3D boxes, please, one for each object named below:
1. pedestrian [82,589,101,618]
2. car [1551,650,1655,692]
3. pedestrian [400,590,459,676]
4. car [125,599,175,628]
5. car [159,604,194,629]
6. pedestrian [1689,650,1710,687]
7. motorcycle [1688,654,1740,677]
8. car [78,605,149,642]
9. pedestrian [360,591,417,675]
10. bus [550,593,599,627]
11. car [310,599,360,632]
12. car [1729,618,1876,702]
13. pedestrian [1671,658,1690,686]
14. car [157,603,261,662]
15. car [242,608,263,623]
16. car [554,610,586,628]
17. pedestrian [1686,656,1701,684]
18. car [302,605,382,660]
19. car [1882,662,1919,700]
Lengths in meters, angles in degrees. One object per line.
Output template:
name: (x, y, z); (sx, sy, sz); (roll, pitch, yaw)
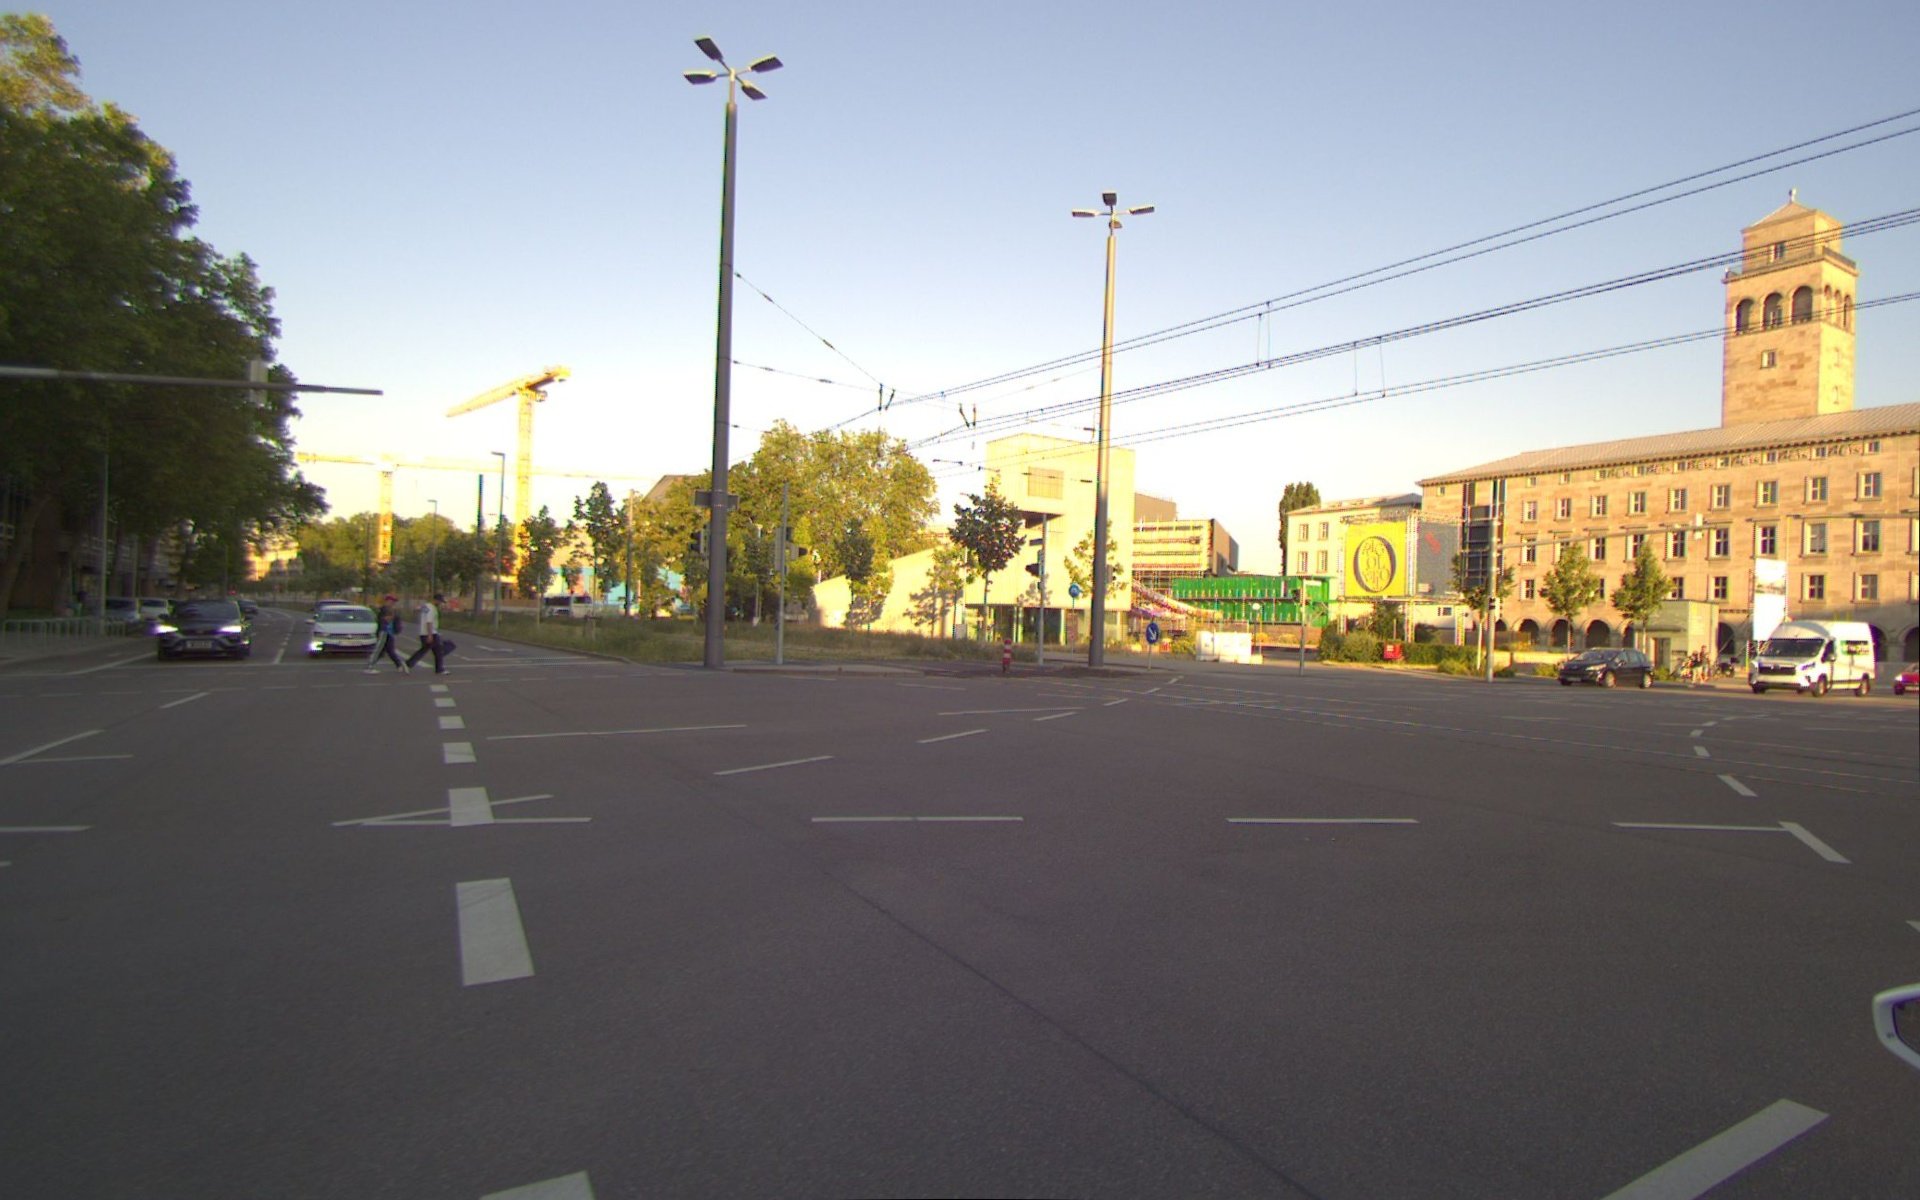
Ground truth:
pedestrian: (-56.419, 0.239, 65.251); (0.749, 1.830, 0.715); (3, 0, -35)
car: (24.904, 2.721, 38.875); (4.111, 1.485, 1.813); (2, -1, -32)
pedestrian: (-11.007, 0.686, 20.842); (0.949, 1.743, 0.816); (2, -1, -35)
car: (-45.911, 0.754, 57.018); (1.723, 1.605, 3.763); (2, -1, -32)
car: (-52.077, 1.106, 66.811); (1.726, 1.605, 4.543); (2, -1, -37)
pedestrian: (36.234, 3.360, 49.213); (0.456, 1.767, 0.617); (3, 0, -35)
motorcycle: (44.456, 3.847, 59.234); (0.819, 1.212, 2.292); (2, -1, -37)
car: (-38.603, 1.032, 45.887); (1.722, 1.605, 4.553); (2, -1, -31)
pedestrian: (-12.170, 0.704, 21.395); (0.949, 1.743, 0.816); (2, -1, -35)
bus: (-45.184, 1.138, 117.458); (2.960, 3.818, 10.338); (2, -1, -34)
car: (-31.824, 0.776, 51.097); (1.833, 1.605, 4.545); (2, -1, -36)
car: (30.897, 2.184, 36.787); (6.013, 2.812, 2.268); (3, -1, -31)
pedestrian: (35.612, 3.542, 49.654); (0.694, 1.318, 0.502); (4, 0, -36)
car: (-20.294, 0.841, 27.292); (1.830, 1.476, 3.920); (2, -1, -31)
car: (-77.486, 1.693, 110.036); (1.726, 1.605, 4.543); (2, -1, -37)
car: (-38.019, 1.850, 97.817); (1.726, 1.605, 4.421); (2, -1, -37)
pedestrian: (35.557, 3.407, 48.667); (0.456, 1.318, 0.418); (3, 0, -36)
car: (-18.120, 0.916, 29.567); (1.830, 1.476, 4.553); (2, -1, -31)
car: (41.222, 3.440, 42.795); (3.952, 1.506, 1.731); (2, -1, -29)
